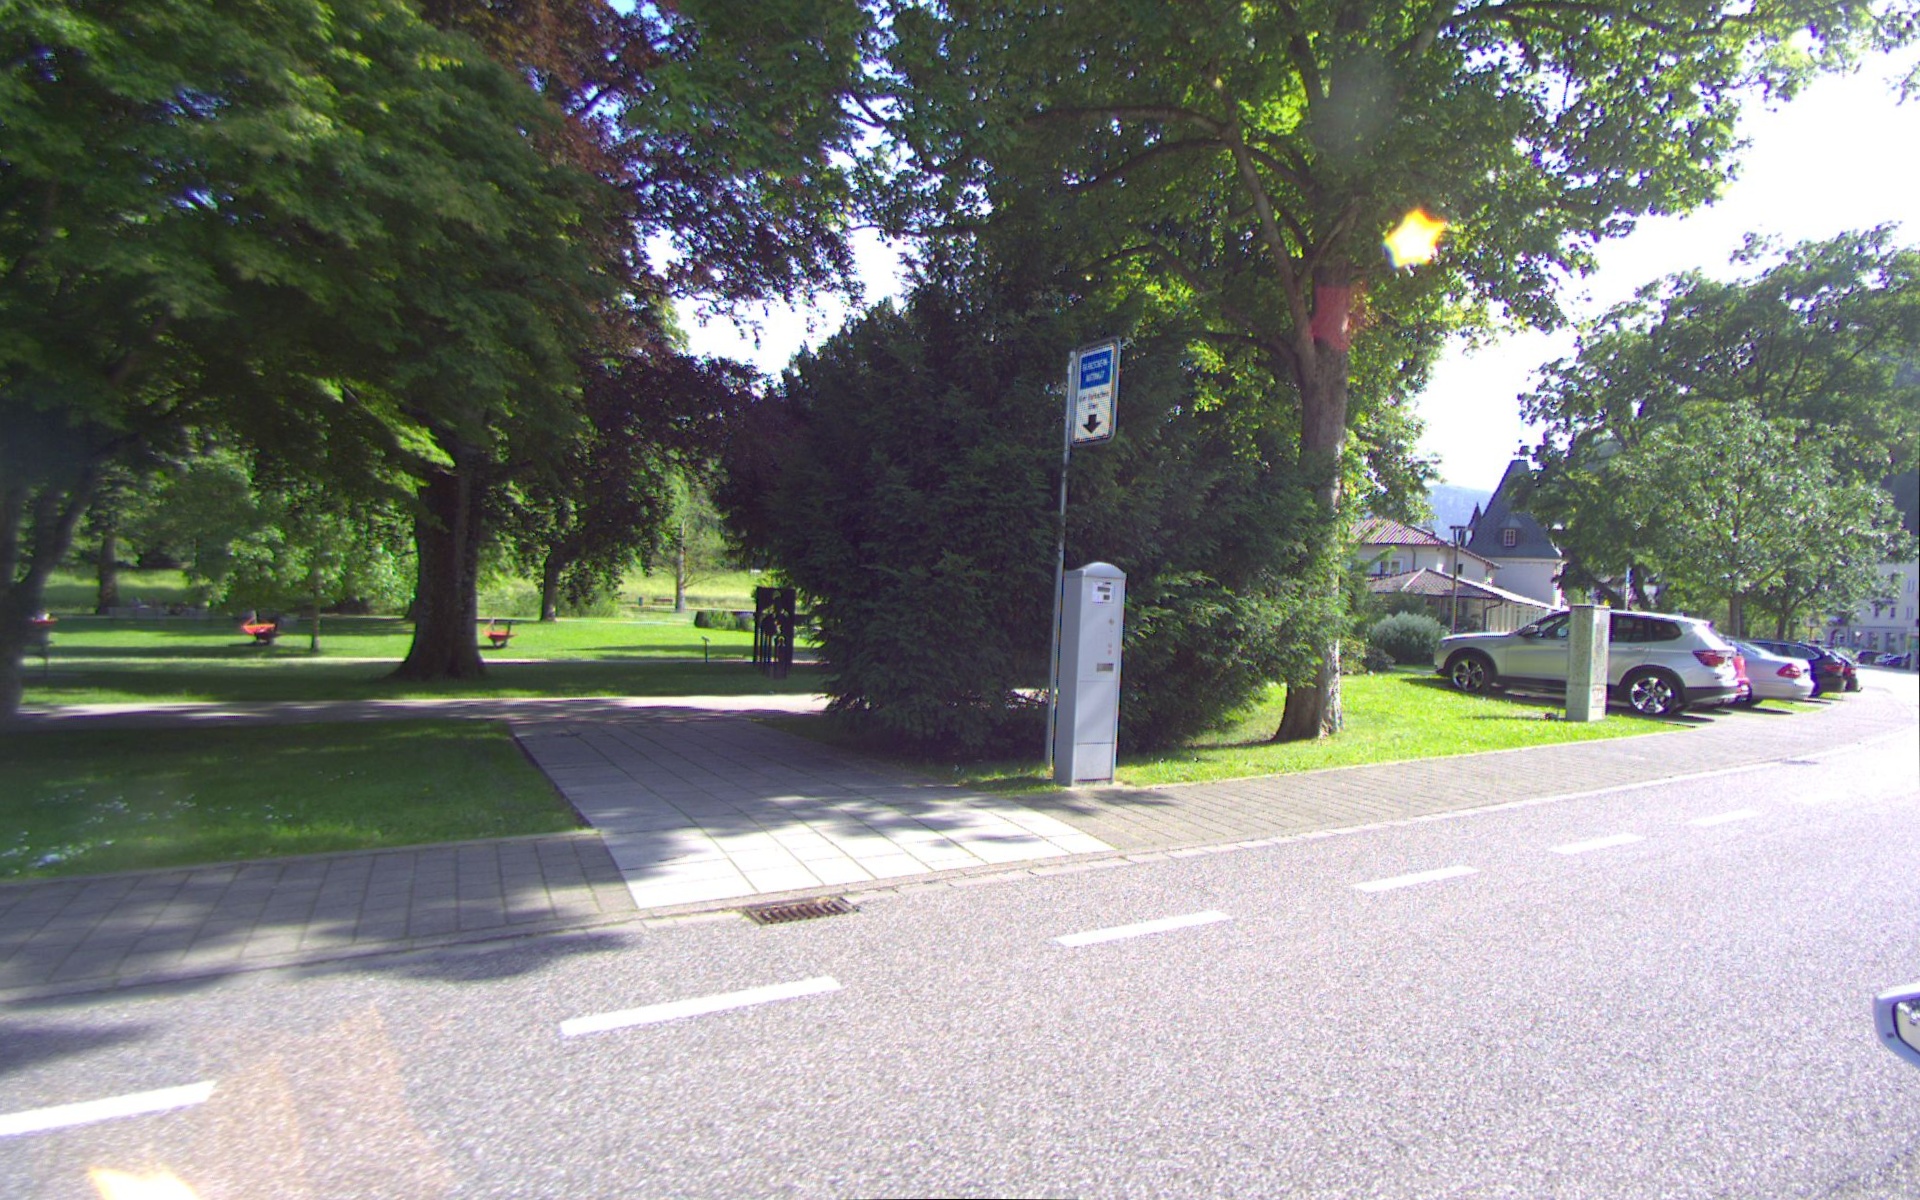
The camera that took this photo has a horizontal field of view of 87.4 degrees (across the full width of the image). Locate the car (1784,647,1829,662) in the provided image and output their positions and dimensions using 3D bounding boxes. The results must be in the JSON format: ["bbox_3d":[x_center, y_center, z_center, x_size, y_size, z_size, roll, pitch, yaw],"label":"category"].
[{"bbox_3d":[107.867,6.971,128.017,3.922,1.684,2.000,1,-1,22],"label":"car"}]

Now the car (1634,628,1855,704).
[{"bbox_3d":[20.739,1.689,26.688,4.442,1.530,1.704,5,1,42],"label":"car"}]

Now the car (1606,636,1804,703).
[{"bbox_3d":[18.393,1.670,24.877,3.750,1.259,1.754,4,0,42],"label":"car"}]

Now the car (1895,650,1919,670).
[{"bbox_3d":[101.099,6.412,105.397,3.855,1.828,1.853,7,2,32],"label":"car"}]

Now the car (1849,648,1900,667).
[{"bbox_3d":[107.377,6.769,118.034,4.027,1.688,1.768,7,2,32],"label":"car"}]

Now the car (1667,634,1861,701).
[{"bbox_3d":[23.210,1.910,29.236,4.220,1.451,1.707,5,1,37],"label":"car"}]

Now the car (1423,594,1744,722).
[{"bbox_3d":[10.861,0.935,17.738,4.436,1.685,1.799,6,1,45],"label":"car"}]

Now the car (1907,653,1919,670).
[{"bbox_3d":[99.908,6.526,102.856,3.855,1.610,1.770,6,2,32],"label":"car"}]

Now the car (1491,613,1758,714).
[{"bbox_3d":[12.658,1.158,19.293,3.946,1.451,1.709,5,1,45],"label":"car"}]

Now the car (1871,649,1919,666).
[{"bbox_3d":[105.891,6.461,113.263,4.298,1.480,1.768,5,0,35],"label":"car"}]

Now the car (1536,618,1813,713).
[{"bbox_3d":[14.879,1.309,21.104,4.436,1.436,1.799,6,1,45],"label":"car"}]

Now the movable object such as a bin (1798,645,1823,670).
[{"bbox_3d":[53.416,3.606,63.097,1.065,1.446,1.371,5,1,39],"label":"movable object such as a bin"}]
